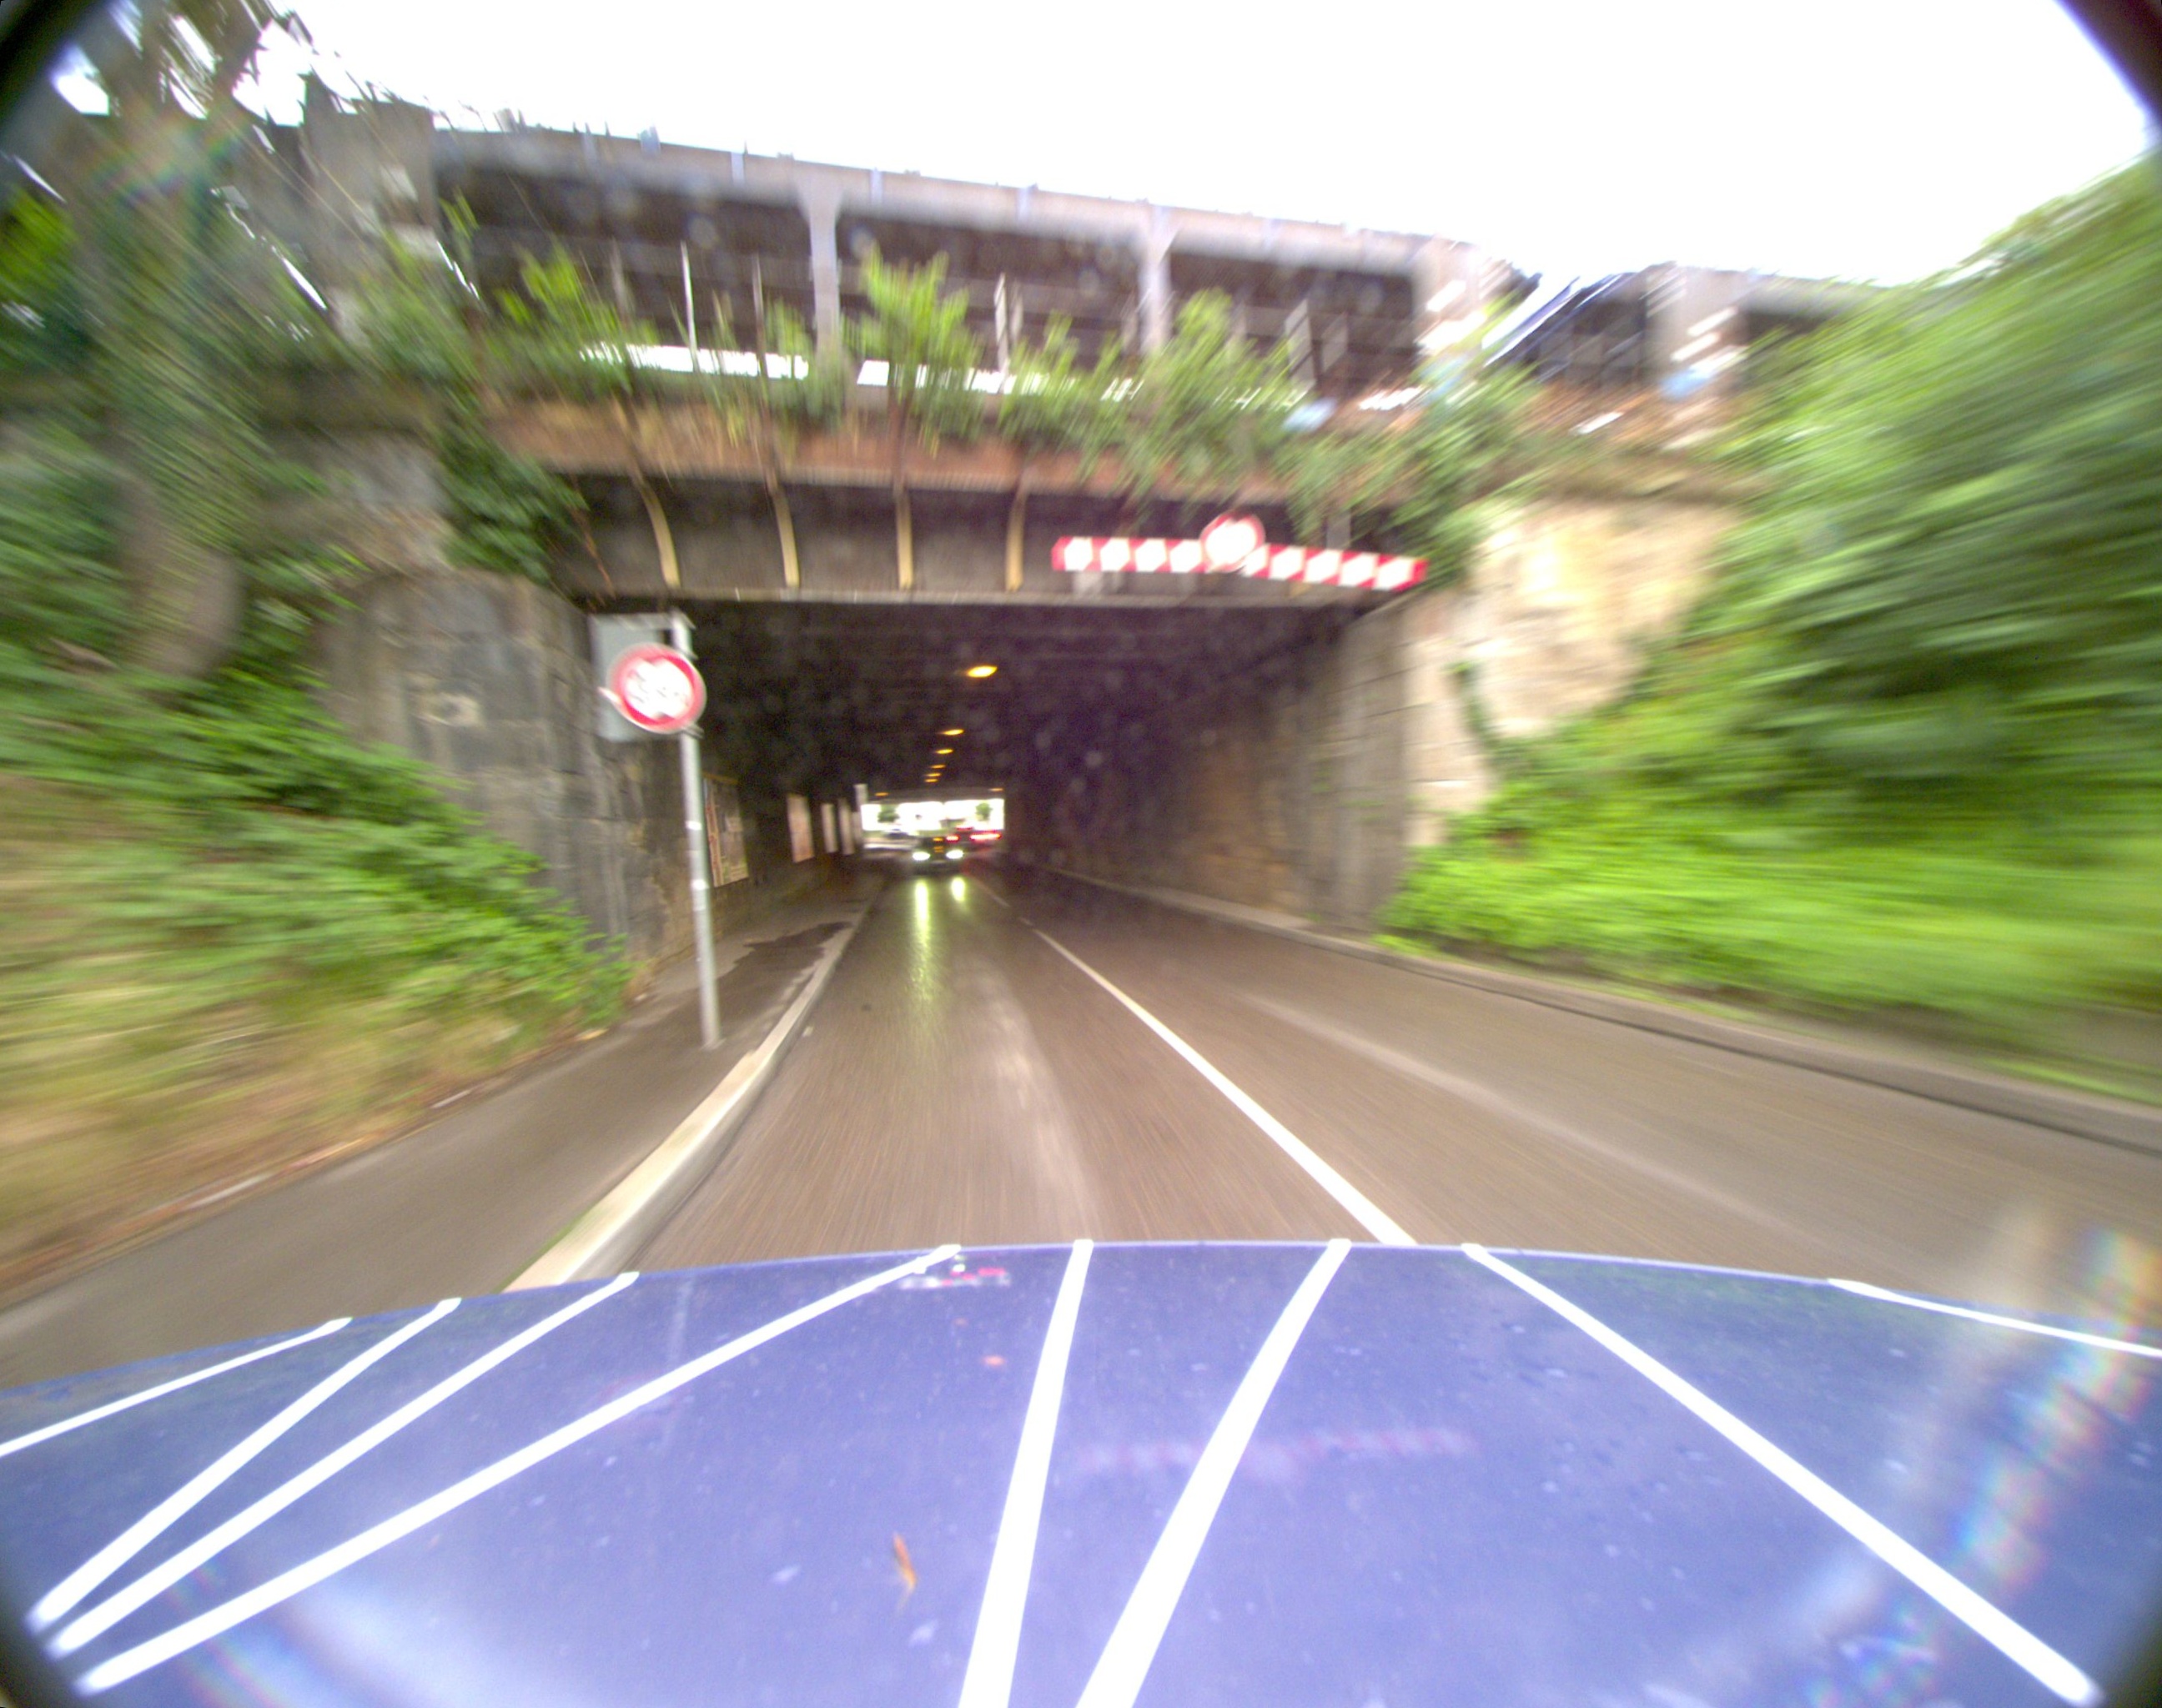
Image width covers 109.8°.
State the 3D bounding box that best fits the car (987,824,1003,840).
[{"bbox_3d":[-7.599,-1.942,67.172,1.278,1.309,3.316,-3,3,-7],"label":"car"}]

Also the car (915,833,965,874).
[{"bbox_3d":[-5.987,-0.095,31.972,1.813,1.510,4.046,-3,3,-13],"label":"car"}]

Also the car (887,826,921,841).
[{"bbox_3d":[-19.498,-2.236,83.686,3.250,1.450,1.279,-2,4,16],"label":"car"}]

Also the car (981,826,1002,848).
[{"bbox_3d":[-7.177,-1.374,60.977,1.594,1.534,4.068,-3,3,-6],"label":"car"}]

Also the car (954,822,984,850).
[{"bbox_3d":[-7.885,-1.297,53.685,1.914,1.792,3.995,-3,3,-8],"label":"car"}]

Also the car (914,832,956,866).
[{"bbox_3d":[-7.227,-0.292,37.280,1.813,1.510,4.046,-3,3,-13],"label":"car"}]
